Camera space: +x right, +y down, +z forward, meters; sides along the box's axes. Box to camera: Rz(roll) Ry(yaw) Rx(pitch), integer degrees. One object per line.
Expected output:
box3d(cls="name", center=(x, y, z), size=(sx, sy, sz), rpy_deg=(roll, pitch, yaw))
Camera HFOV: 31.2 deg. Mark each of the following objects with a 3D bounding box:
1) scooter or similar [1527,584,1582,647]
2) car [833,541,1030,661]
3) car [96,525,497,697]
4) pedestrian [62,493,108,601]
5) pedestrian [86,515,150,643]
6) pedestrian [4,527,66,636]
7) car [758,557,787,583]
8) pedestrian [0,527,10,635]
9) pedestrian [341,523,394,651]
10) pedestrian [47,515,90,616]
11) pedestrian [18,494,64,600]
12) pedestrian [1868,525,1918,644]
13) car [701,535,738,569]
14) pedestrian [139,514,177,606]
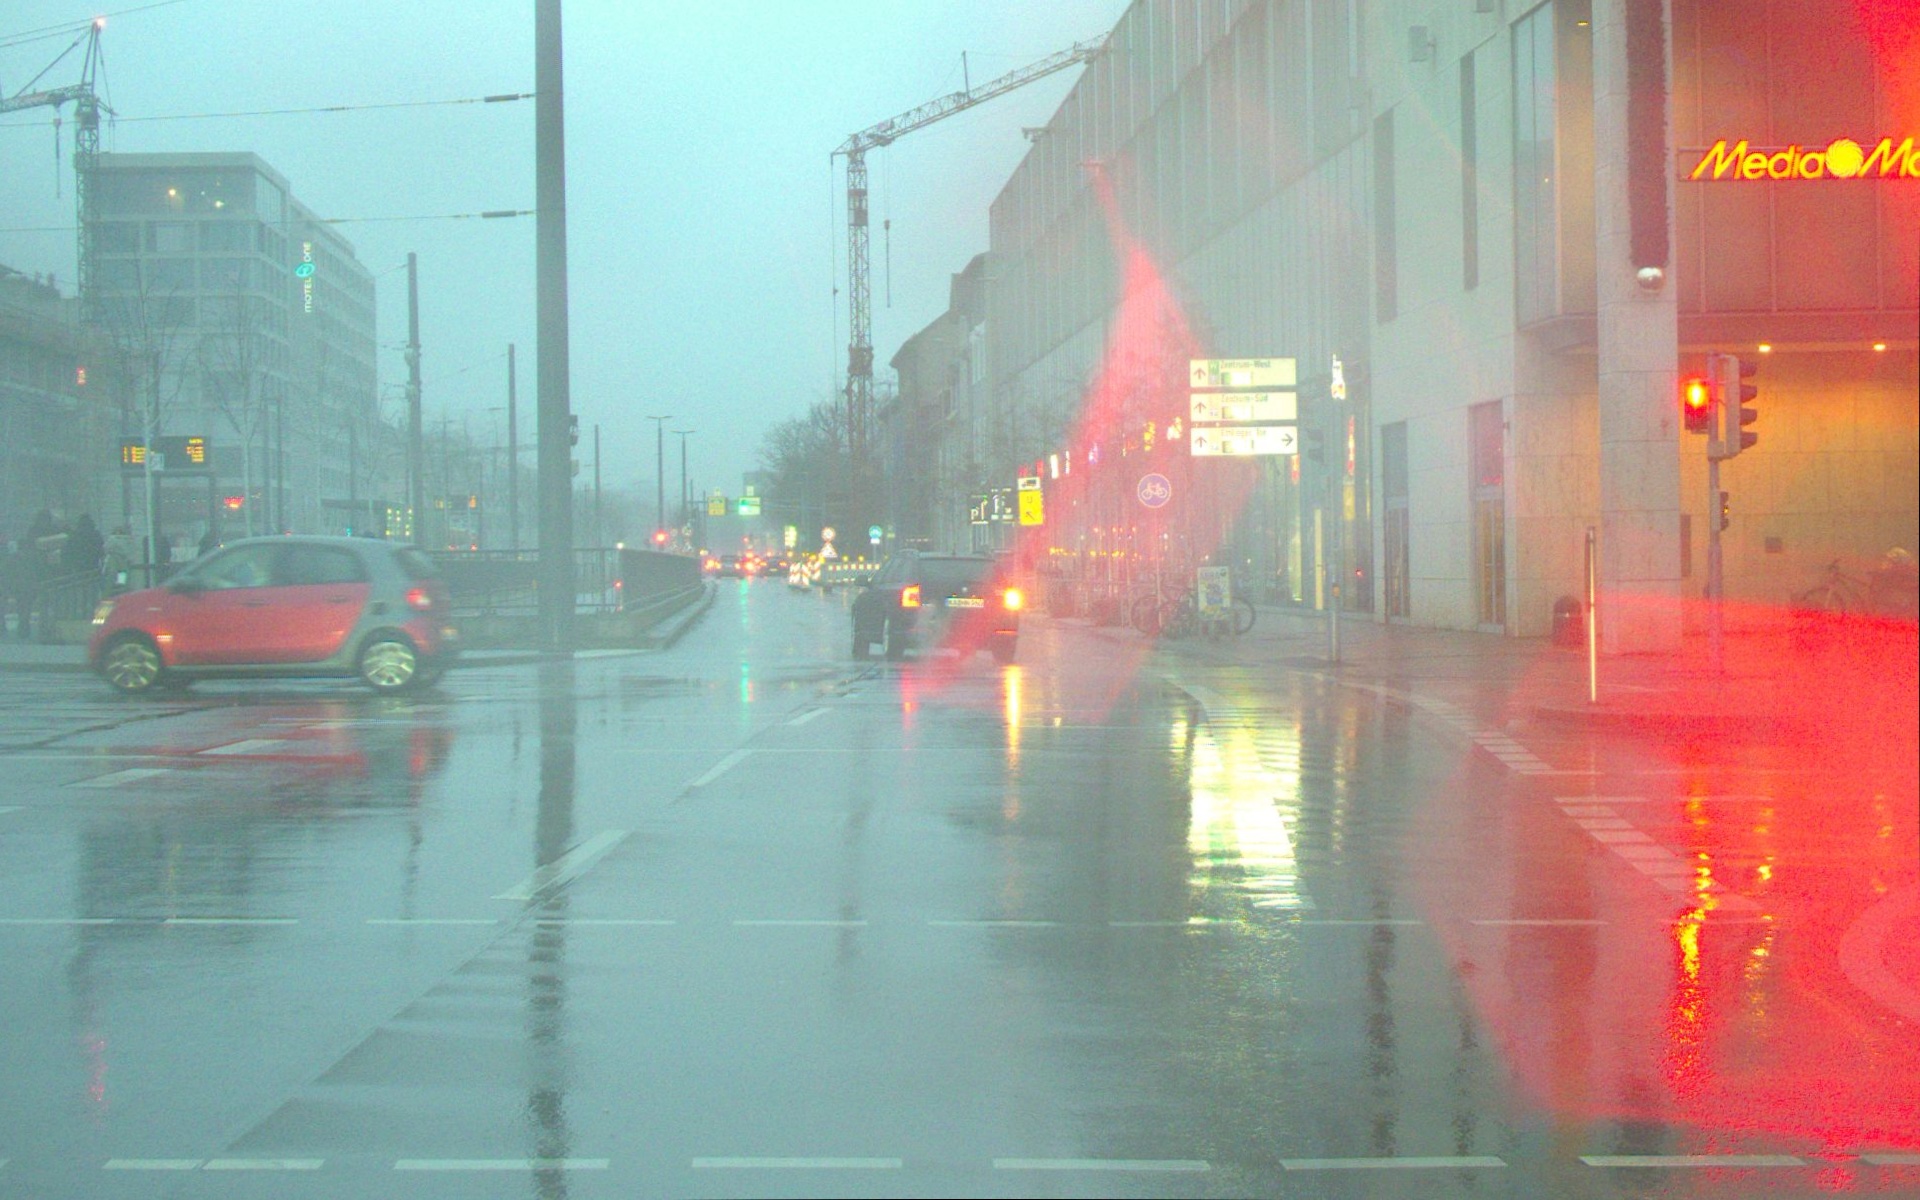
box3d(cls="scooter or similar", center=(8.867, 0.227, 51.273), size=(0.741, 0.913, 0.400), rpy_deg=(-1, 1, 1))
box3d(cls="car", center=(-0.441, -0.010, 46.648), size=(1.973, 1.525, 4.001), rpy_deg=(-1, 1, -11))
box3d(cls="car", center=(-6.474, 0.103, 33.776), size=(3.569, 1.577, 1.676), rpy_deg=(-1, 0, 1))
box3d(cls="pedestrian", center=(-14.309, -0.871, 56.236), size=(0.619, 1.740, 0.613), rpy_deg=(-1, 1, -6))
box3d(cls="pedestrian", center=(-11.695, -0.298, 47.773), size=(0.703, 1.754, 0.652), rpy_deg=(-1, 1, -1))
box3d(cls="pedestrian", center=(-13.781, -0.274, 51.251), size=(0.743, 1.602, 0.812), rpy_deg=(-1, 1, -6))
box3d(cls="car", center=(-13.141, -2.116, 241.257), size=(1.888, 1.777, 3.714), rpy_deg=(1, 0, -1))
box3d(cls="pedestrian", center=(-14.609, -0.282, 51.553), size=(0.611, 1.613, 0.709), rpy_deg=(-1, 1, -10))
box3d(cls="pedestrian", center=(-8.216, -0.184, 47.703), size=(0.633, 1.766, 0.484), rpy_deg=(-1, 1, -2))
box3d(cls="pedestrian", center=(-15.609, -0.606, 60.213), size=(0.611, 1.740, 0.621), rpy_deg=(-1, 1, -6))
box3d(cls="pedestrian", center=(-15.330, -0.883, 57.367), size=(0.660, 1.740, 0.736), rpy_deg=(-1, 1, -11))
box3d(cls="pedestrian", center=(13.591, -0.227, 50.062), size=(0.536, 1.712, 0.501), rpy_deg=(0, 1, 37))
box3d(cls="car", center=(-14.687, -2.938, 209.943), size=(1.993, 2.007, 4.000), rpy_deg=(1, 0, -1))
box3d(cls="pedestrian", center=(-15.411, -0.771, 66.090), size=(0.660, 1.740, 0.621), rpy_deg=(-1, 1, -11))
